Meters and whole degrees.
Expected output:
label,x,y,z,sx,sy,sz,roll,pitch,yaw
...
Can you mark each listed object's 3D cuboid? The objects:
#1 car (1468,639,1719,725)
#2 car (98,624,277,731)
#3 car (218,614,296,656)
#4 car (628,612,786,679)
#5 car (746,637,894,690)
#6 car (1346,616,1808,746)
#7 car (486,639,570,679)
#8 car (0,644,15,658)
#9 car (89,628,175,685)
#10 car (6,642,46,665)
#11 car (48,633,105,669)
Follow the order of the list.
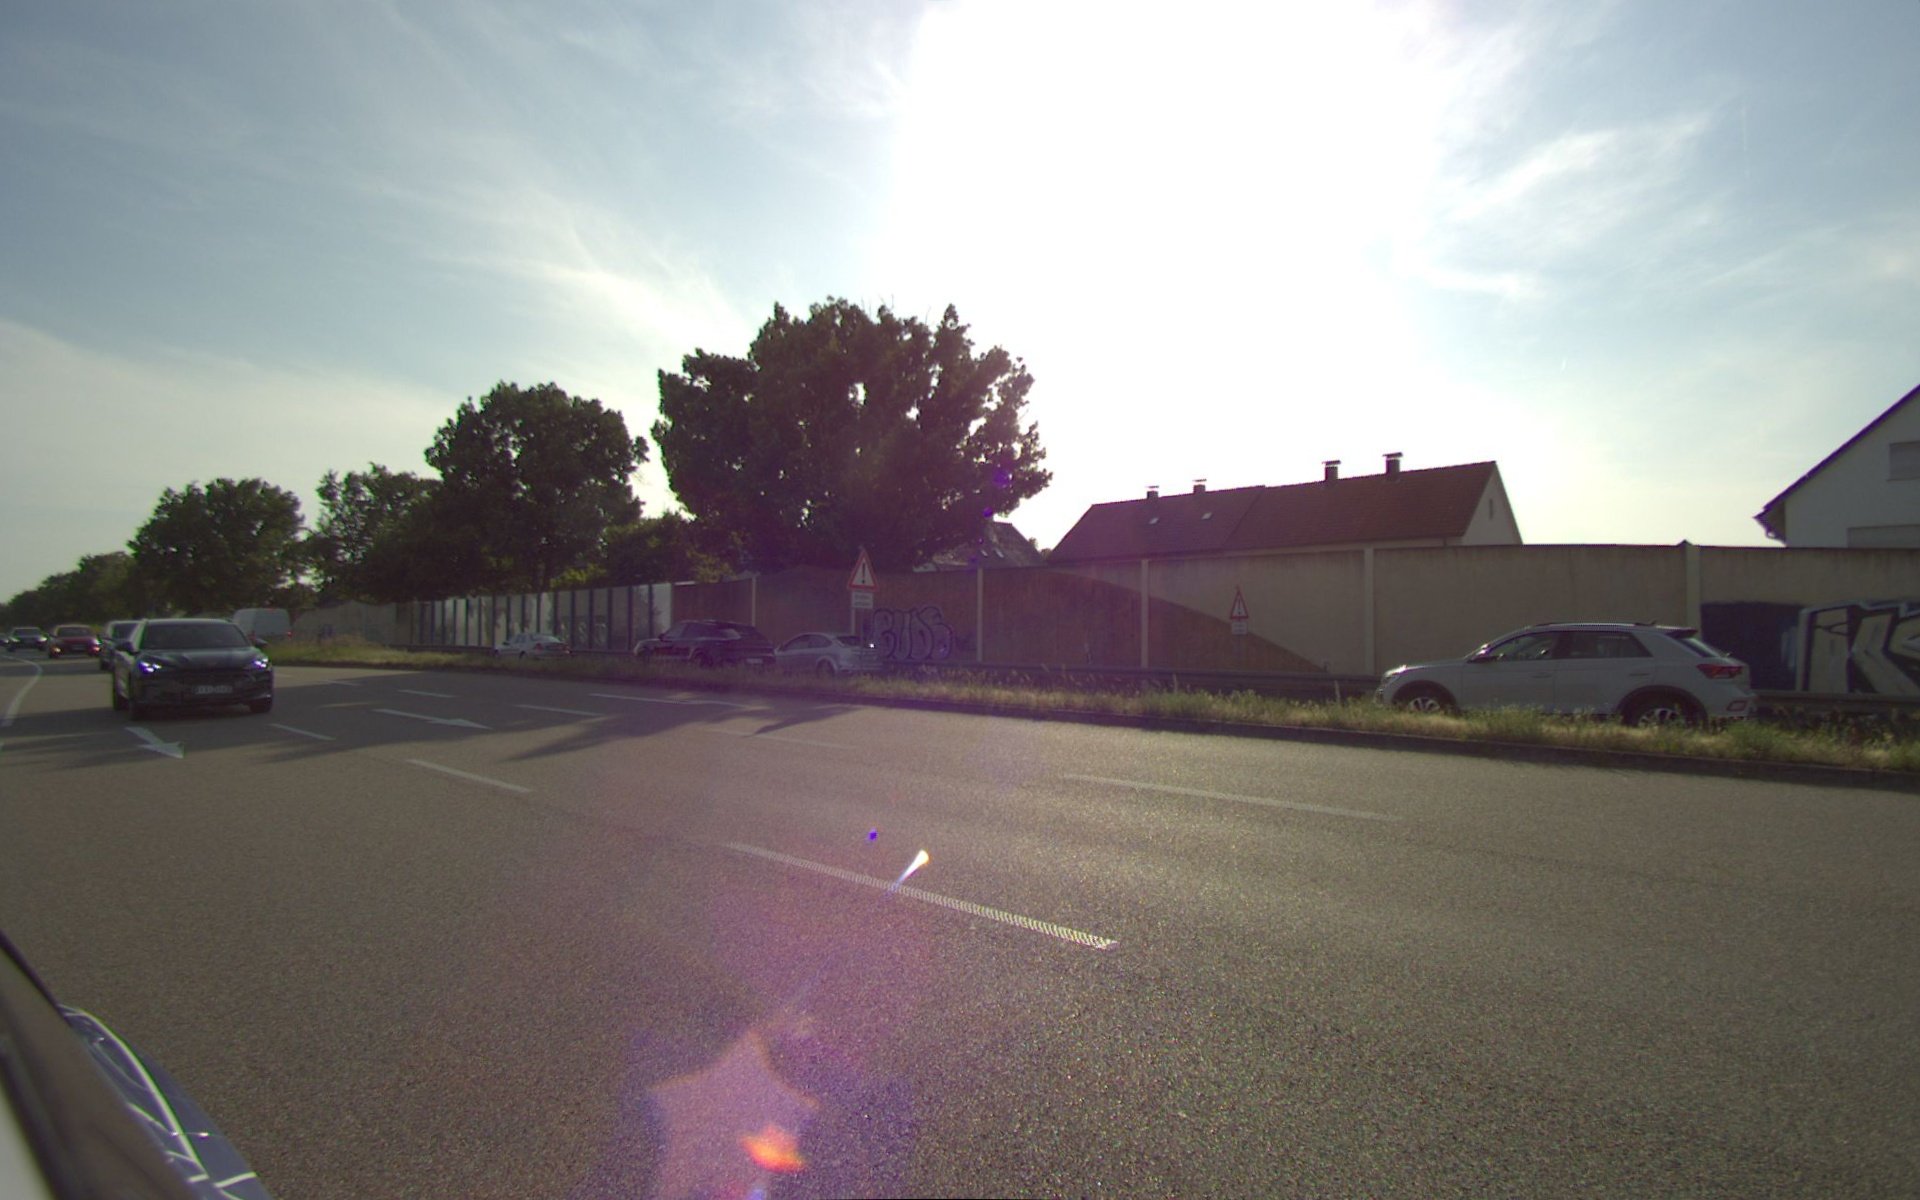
label,x,y,z,sx,sy,sz,roll,pitch,yaw
car,9.827,1.215,15.808,3.063,1.173,1.457,-2,-2,44
car,-13.096,1.217,17.059,4.248,1.537,1.797,-2,-2,44
car,-41.237,2.035,59.250,7.191,2.321,2.322,-2,-2,43
car,-6.858,1.186,27.093,4.923,1.637,1.712,-2,-2,43
car,-4.077,1.767,28.921,4.606,1.333,1.760,-2,-2,44
car,7.607,0.922,12.840,4.714,1.331,1.853,-2,-2,43
car,-18.475,2.492,43.188,4.713,1.579,1.633,-2,-2,44
car,-101.071,5.421,106.885,4.000,1.416,1.670,-2,-2,44
car,-27.701,1.859,33.808,4.001,1.747,1.797,-2,-2,44
car,-65.037,3.701,70.456,4.000,1.519,1.785,-2,-2,43
car,-43.754,2.502,50.078,4.001,1.684,1.797,-2,-2,44
